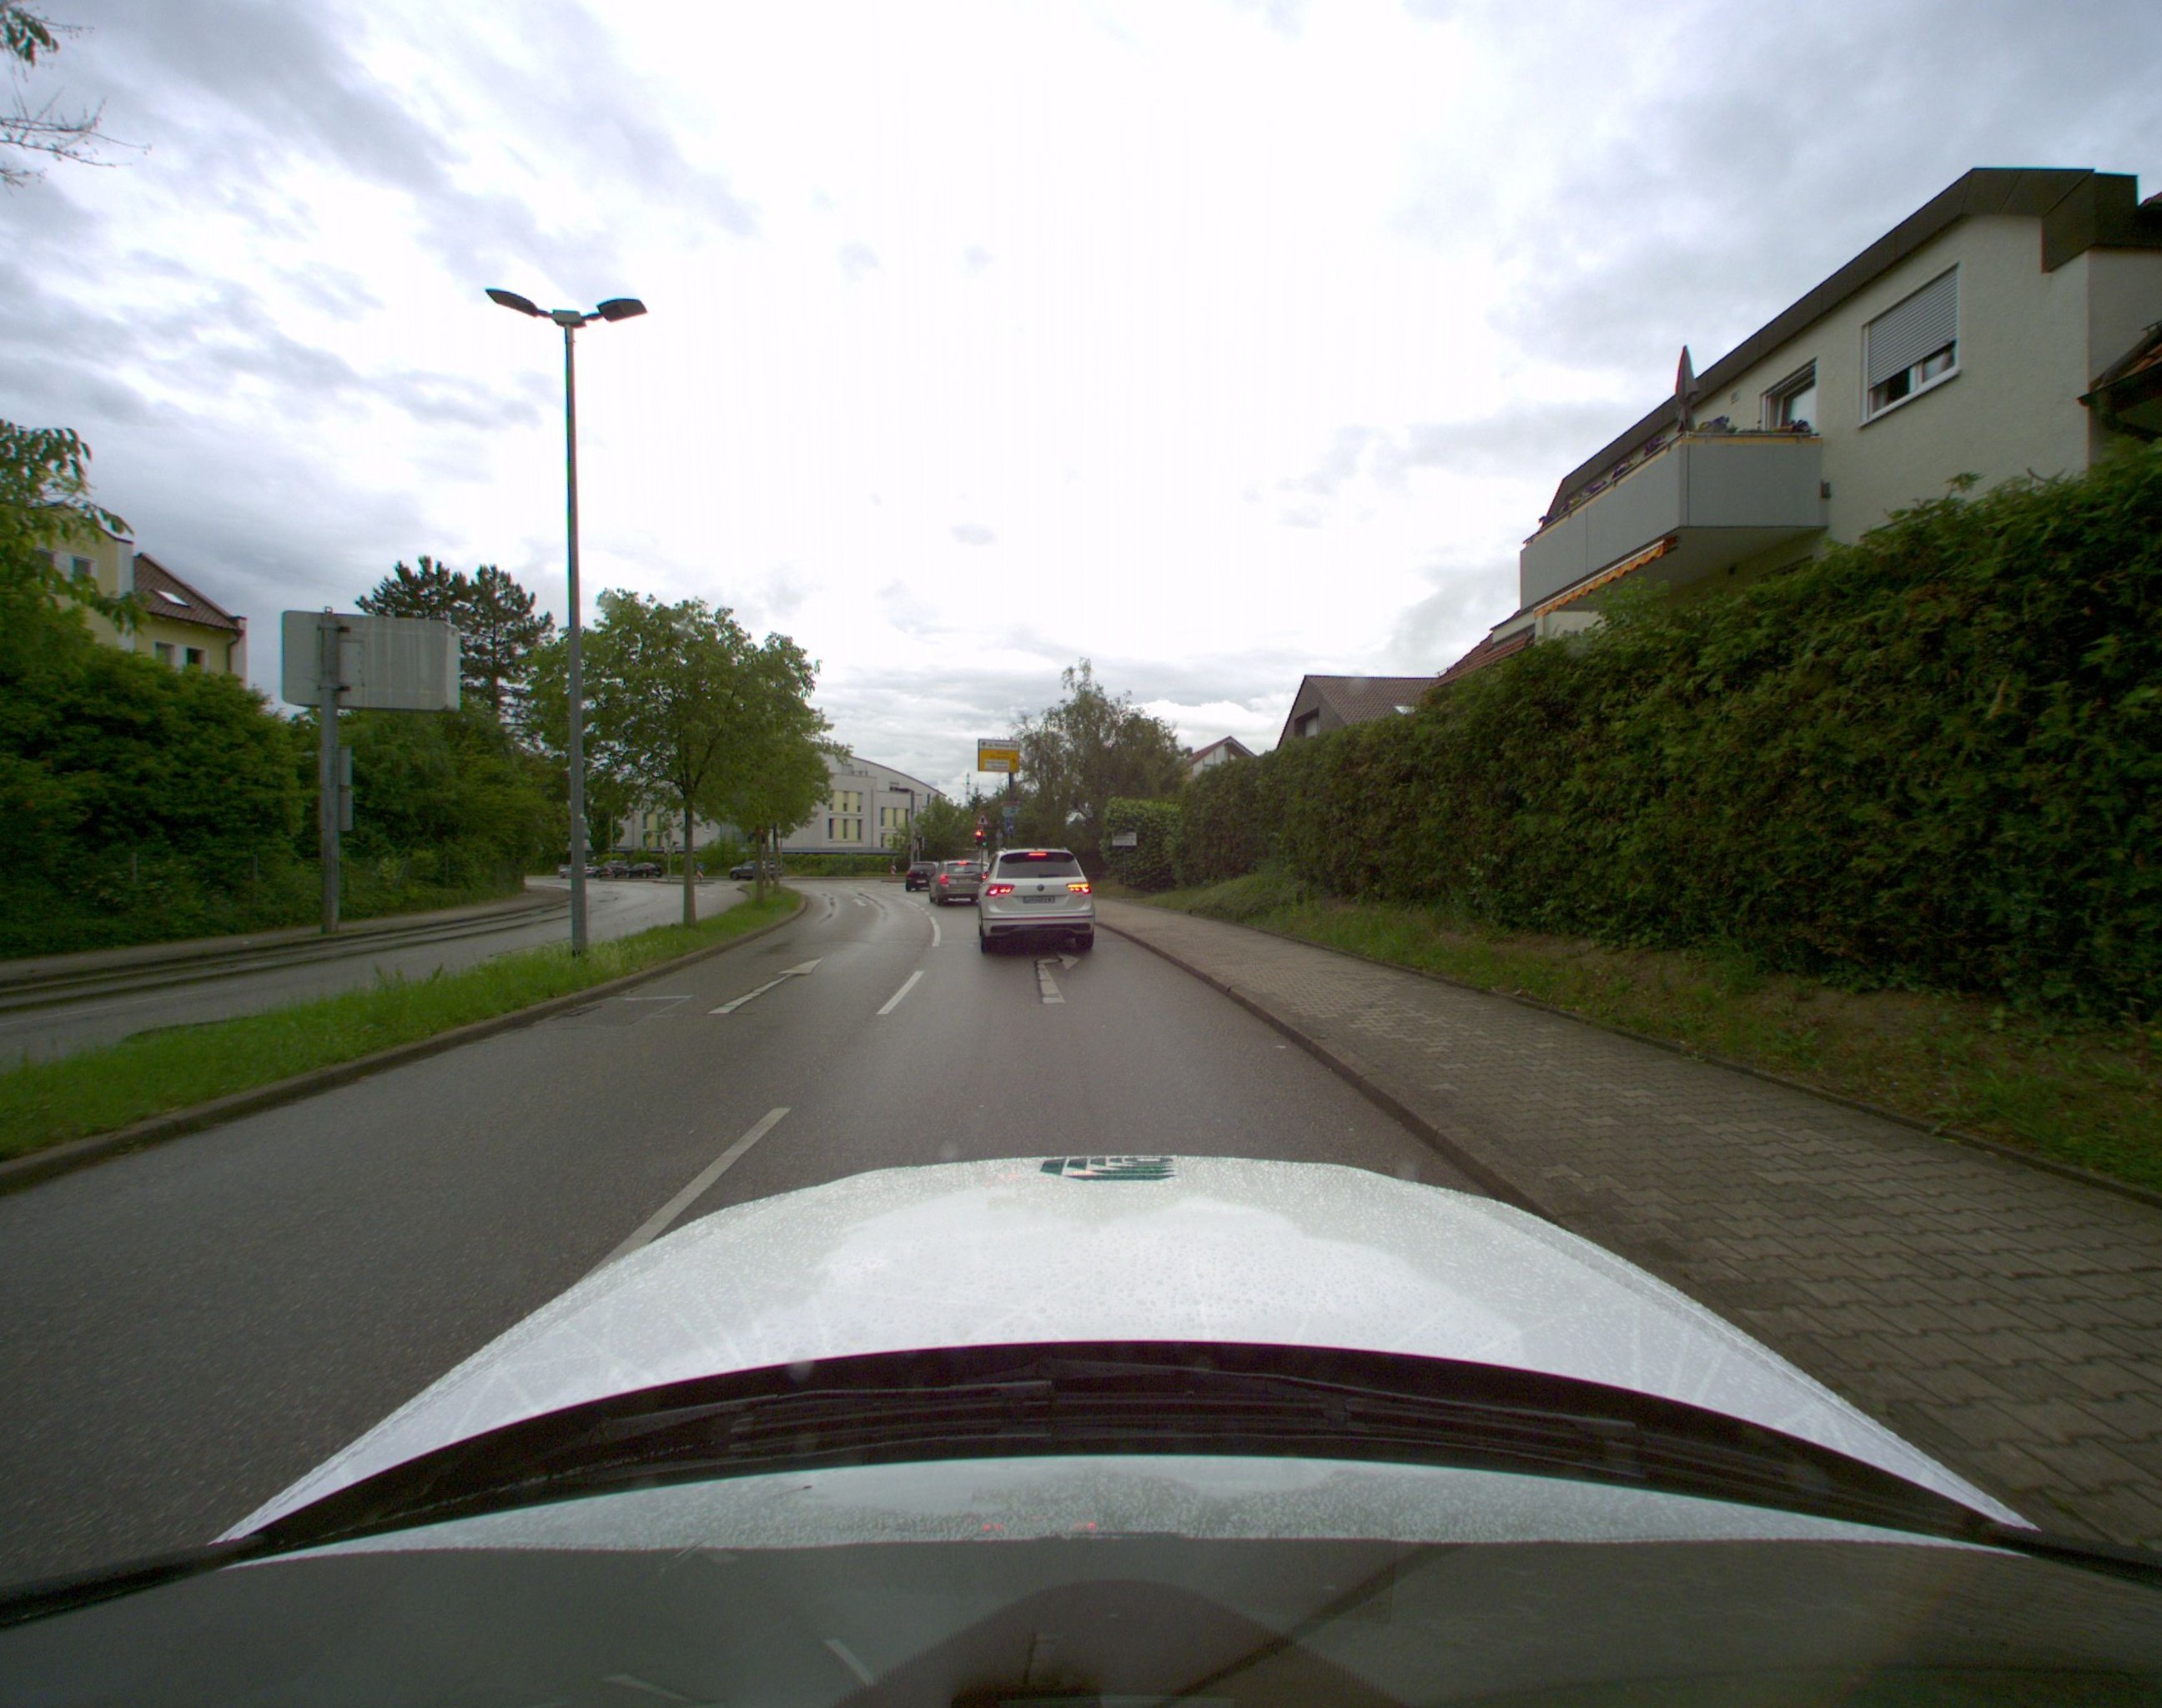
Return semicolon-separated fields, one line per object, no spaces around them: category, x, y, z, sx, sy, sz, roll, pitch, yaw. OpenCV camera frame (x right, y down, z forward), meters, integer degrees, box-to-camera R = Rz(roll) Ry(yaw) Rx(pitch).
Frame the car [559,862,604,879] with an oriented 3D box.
car;-49.781;1.580;81.121;3.950;1.555;2.012;1;0;27

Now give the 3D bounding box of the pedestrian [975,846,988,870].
pedestrian;-8.344;0.326;68.267;0.802;2.013;0.844;-3;3;-20

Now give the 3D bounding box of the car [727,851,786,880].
car;-26.296;0.916;66.029;3.957;2.013;1.990;3;2;16

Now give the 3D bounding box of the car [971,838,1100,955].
car;-0.836;0.632;14.409;1.917;1.722;4.258;-1;0;-4

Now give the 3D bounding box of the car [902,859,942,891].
car;-8.137;1.020;41.365;1.853;1.429;3.982;-1;0;-13

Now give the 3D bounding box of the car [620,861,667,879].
car;-41.432;1.479;77.119;3.950;1.555;2.012;0;1;27

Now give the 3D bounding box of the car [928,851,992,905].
car;-4.183;0.769;27.726;1.767;1.509;3.983;2;2;-13

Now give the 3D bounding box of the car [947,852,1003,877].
car;-8.268;0.805;63.410;3.996;1.758;1.989;2;2;-17

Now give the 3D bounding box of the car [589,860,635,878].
car;-45.621;1.418;79.226;3.950;1.555;2.012;2;0;27
